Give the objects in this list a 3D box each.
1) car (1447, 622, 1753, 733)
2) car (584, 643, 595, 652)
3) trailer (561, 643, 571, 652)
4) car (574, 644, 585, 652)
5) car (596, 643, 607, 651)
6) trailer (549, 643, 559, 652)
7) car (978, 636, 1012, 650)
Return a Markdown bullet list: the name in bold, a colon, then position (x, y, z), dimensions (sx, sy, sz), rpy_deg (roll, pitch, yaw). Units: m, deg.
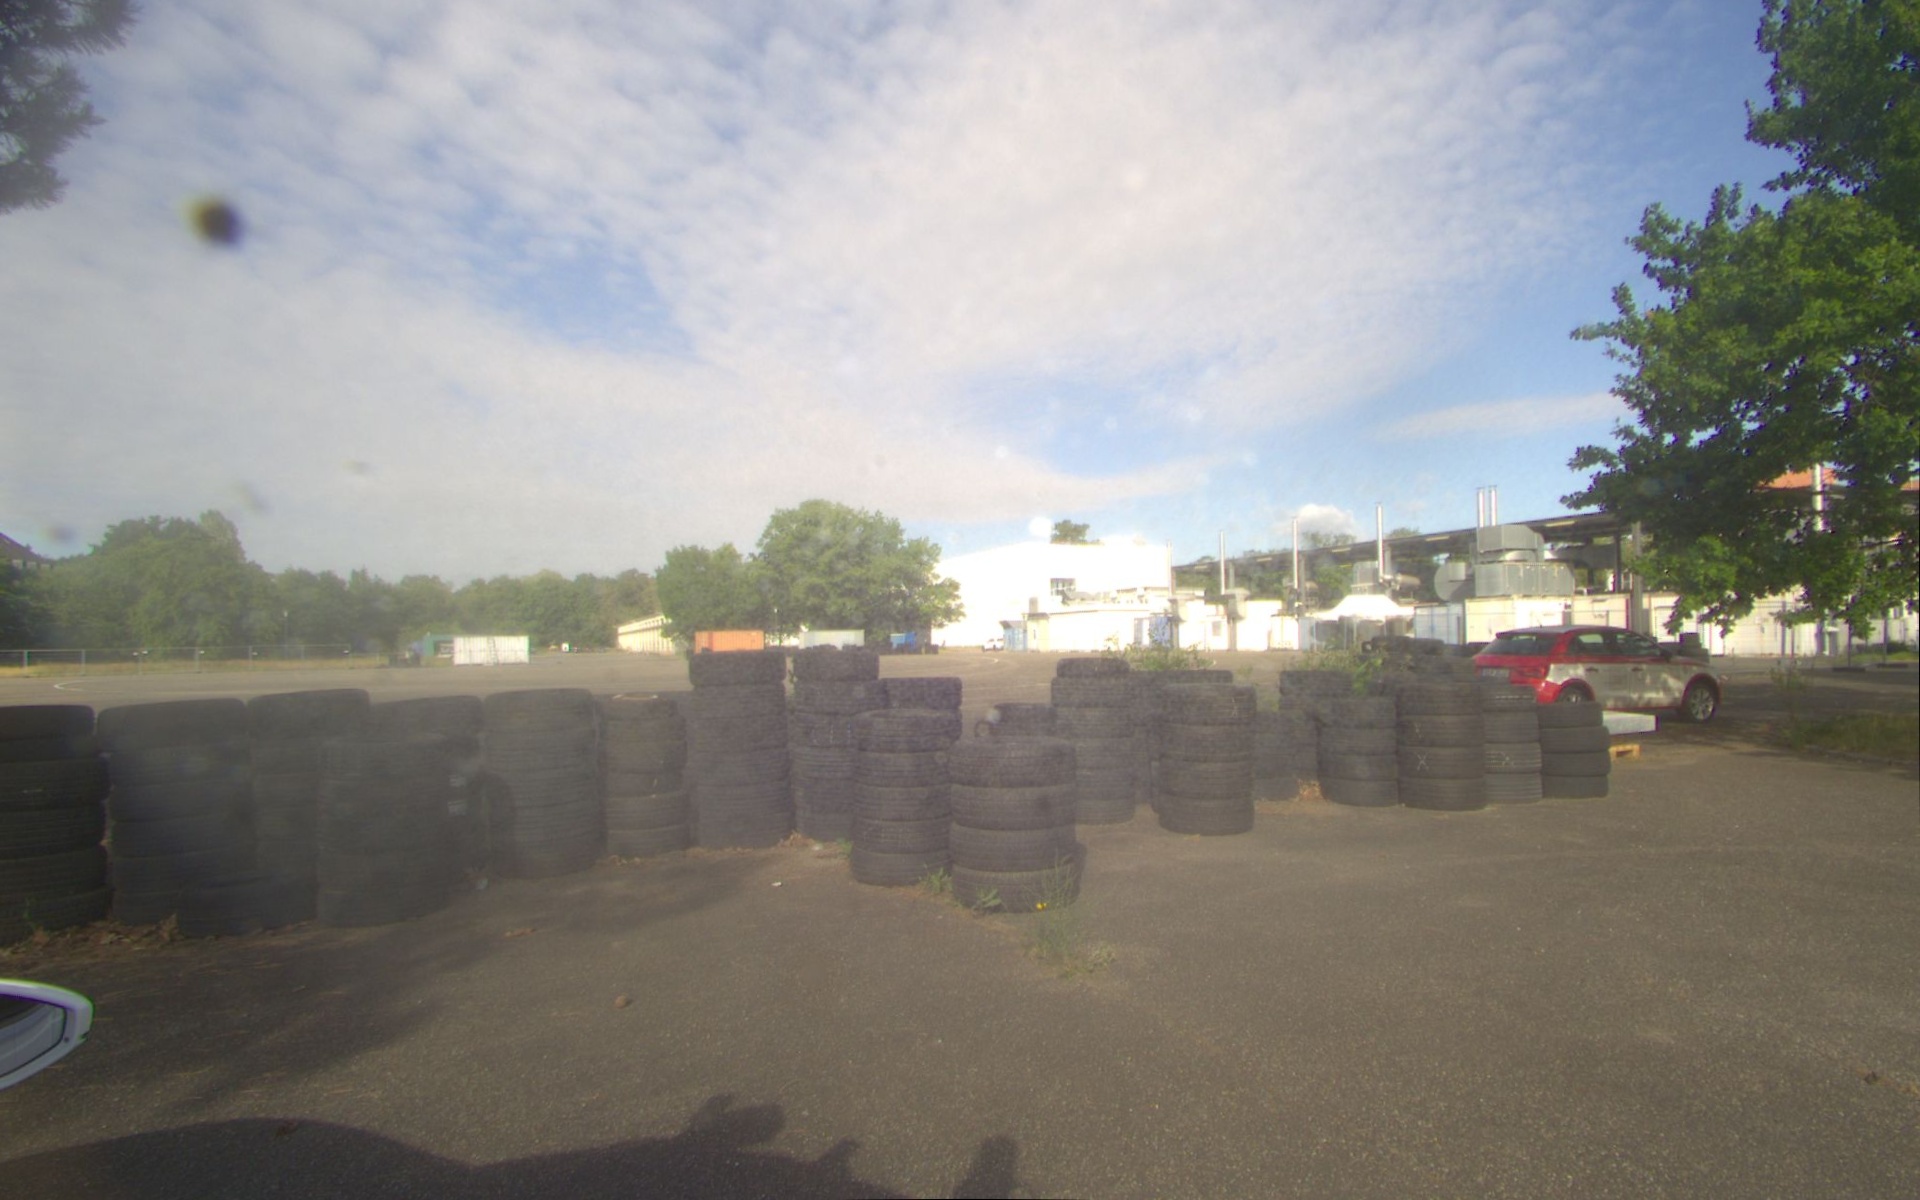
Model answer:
- **car**: position (9.589, 1.104, 15.064), dimensions (3.929, 1.482, 1.726), rpy_deg (0, -2, -17)
- **car**: position (-85.095, 10.903, 230.154), dimensions (2.006, 1.831, 3.986), rpy_deg (0, -2, -26)
- **trailer**: position (-90.306, 10.852, 229.454), dimensions (2.032, 2.039, 3.988), rpy_deg (0, -2, -24)
- **car**: position (-87.074, 10.923, 229.081), dimensions (1.969, 1.772, 3.986), rpy_deg (0, -2, -26)
- **car**: position (-82.801, 10.809, 231.164), dimensions (1.969, 1.772, 3.986), rpy_deg (0, -2, -26)
- **trailer**: position (-93.055, 10.856, 229.706), dimensions (1.968, 2.039, 3.987), rpy_deg (0, -2, -25)
- **car**: position (3.857, 4.739, 110.496), dimensions (1.845, 1.584, 4.533), rpy_deg (0, -2, -25)
